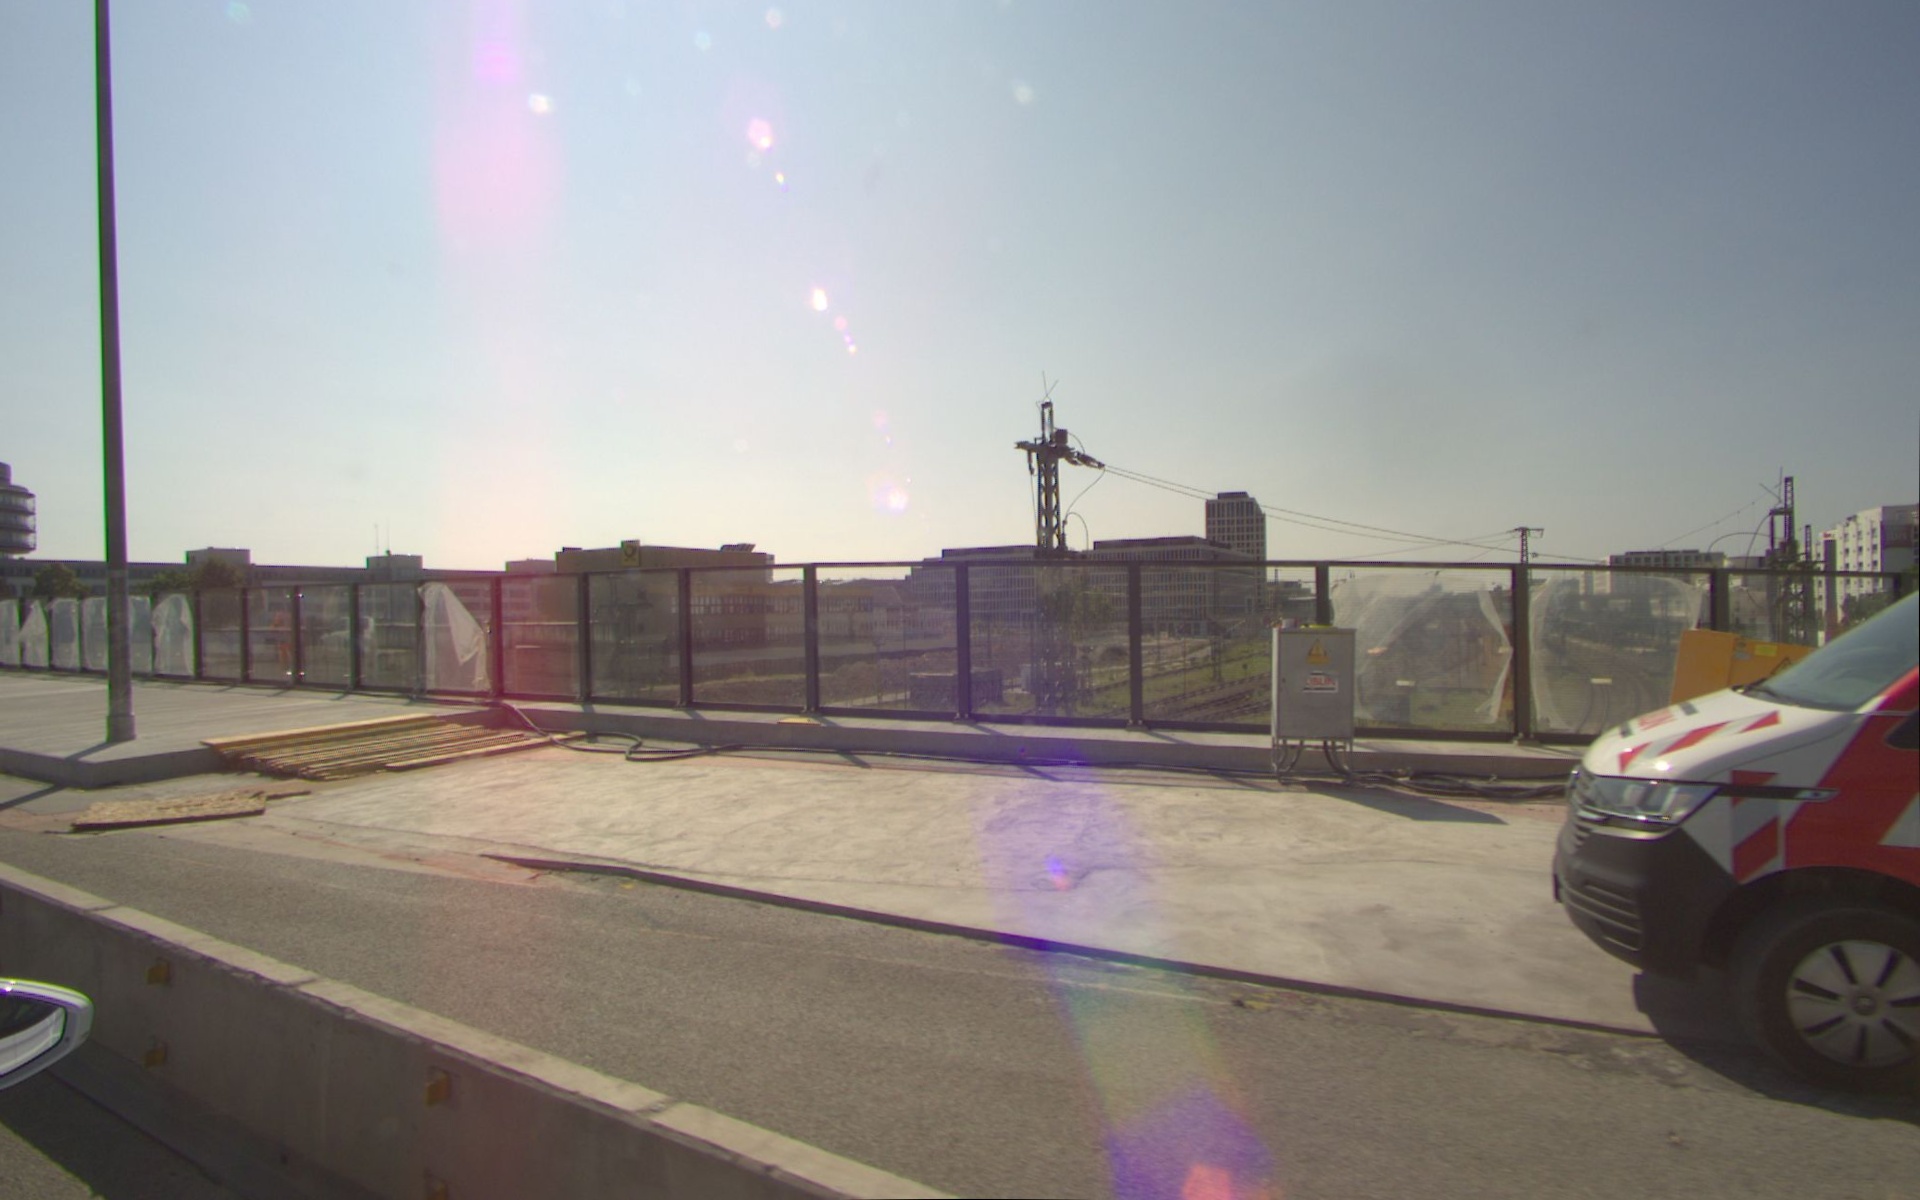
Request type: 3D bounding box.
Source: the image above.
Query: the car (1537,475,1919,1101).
[{"bbox_3d":[4.767,0.620,3.364,4.822,2.059,1.875,-1,-1,33],"label":"car"}]
